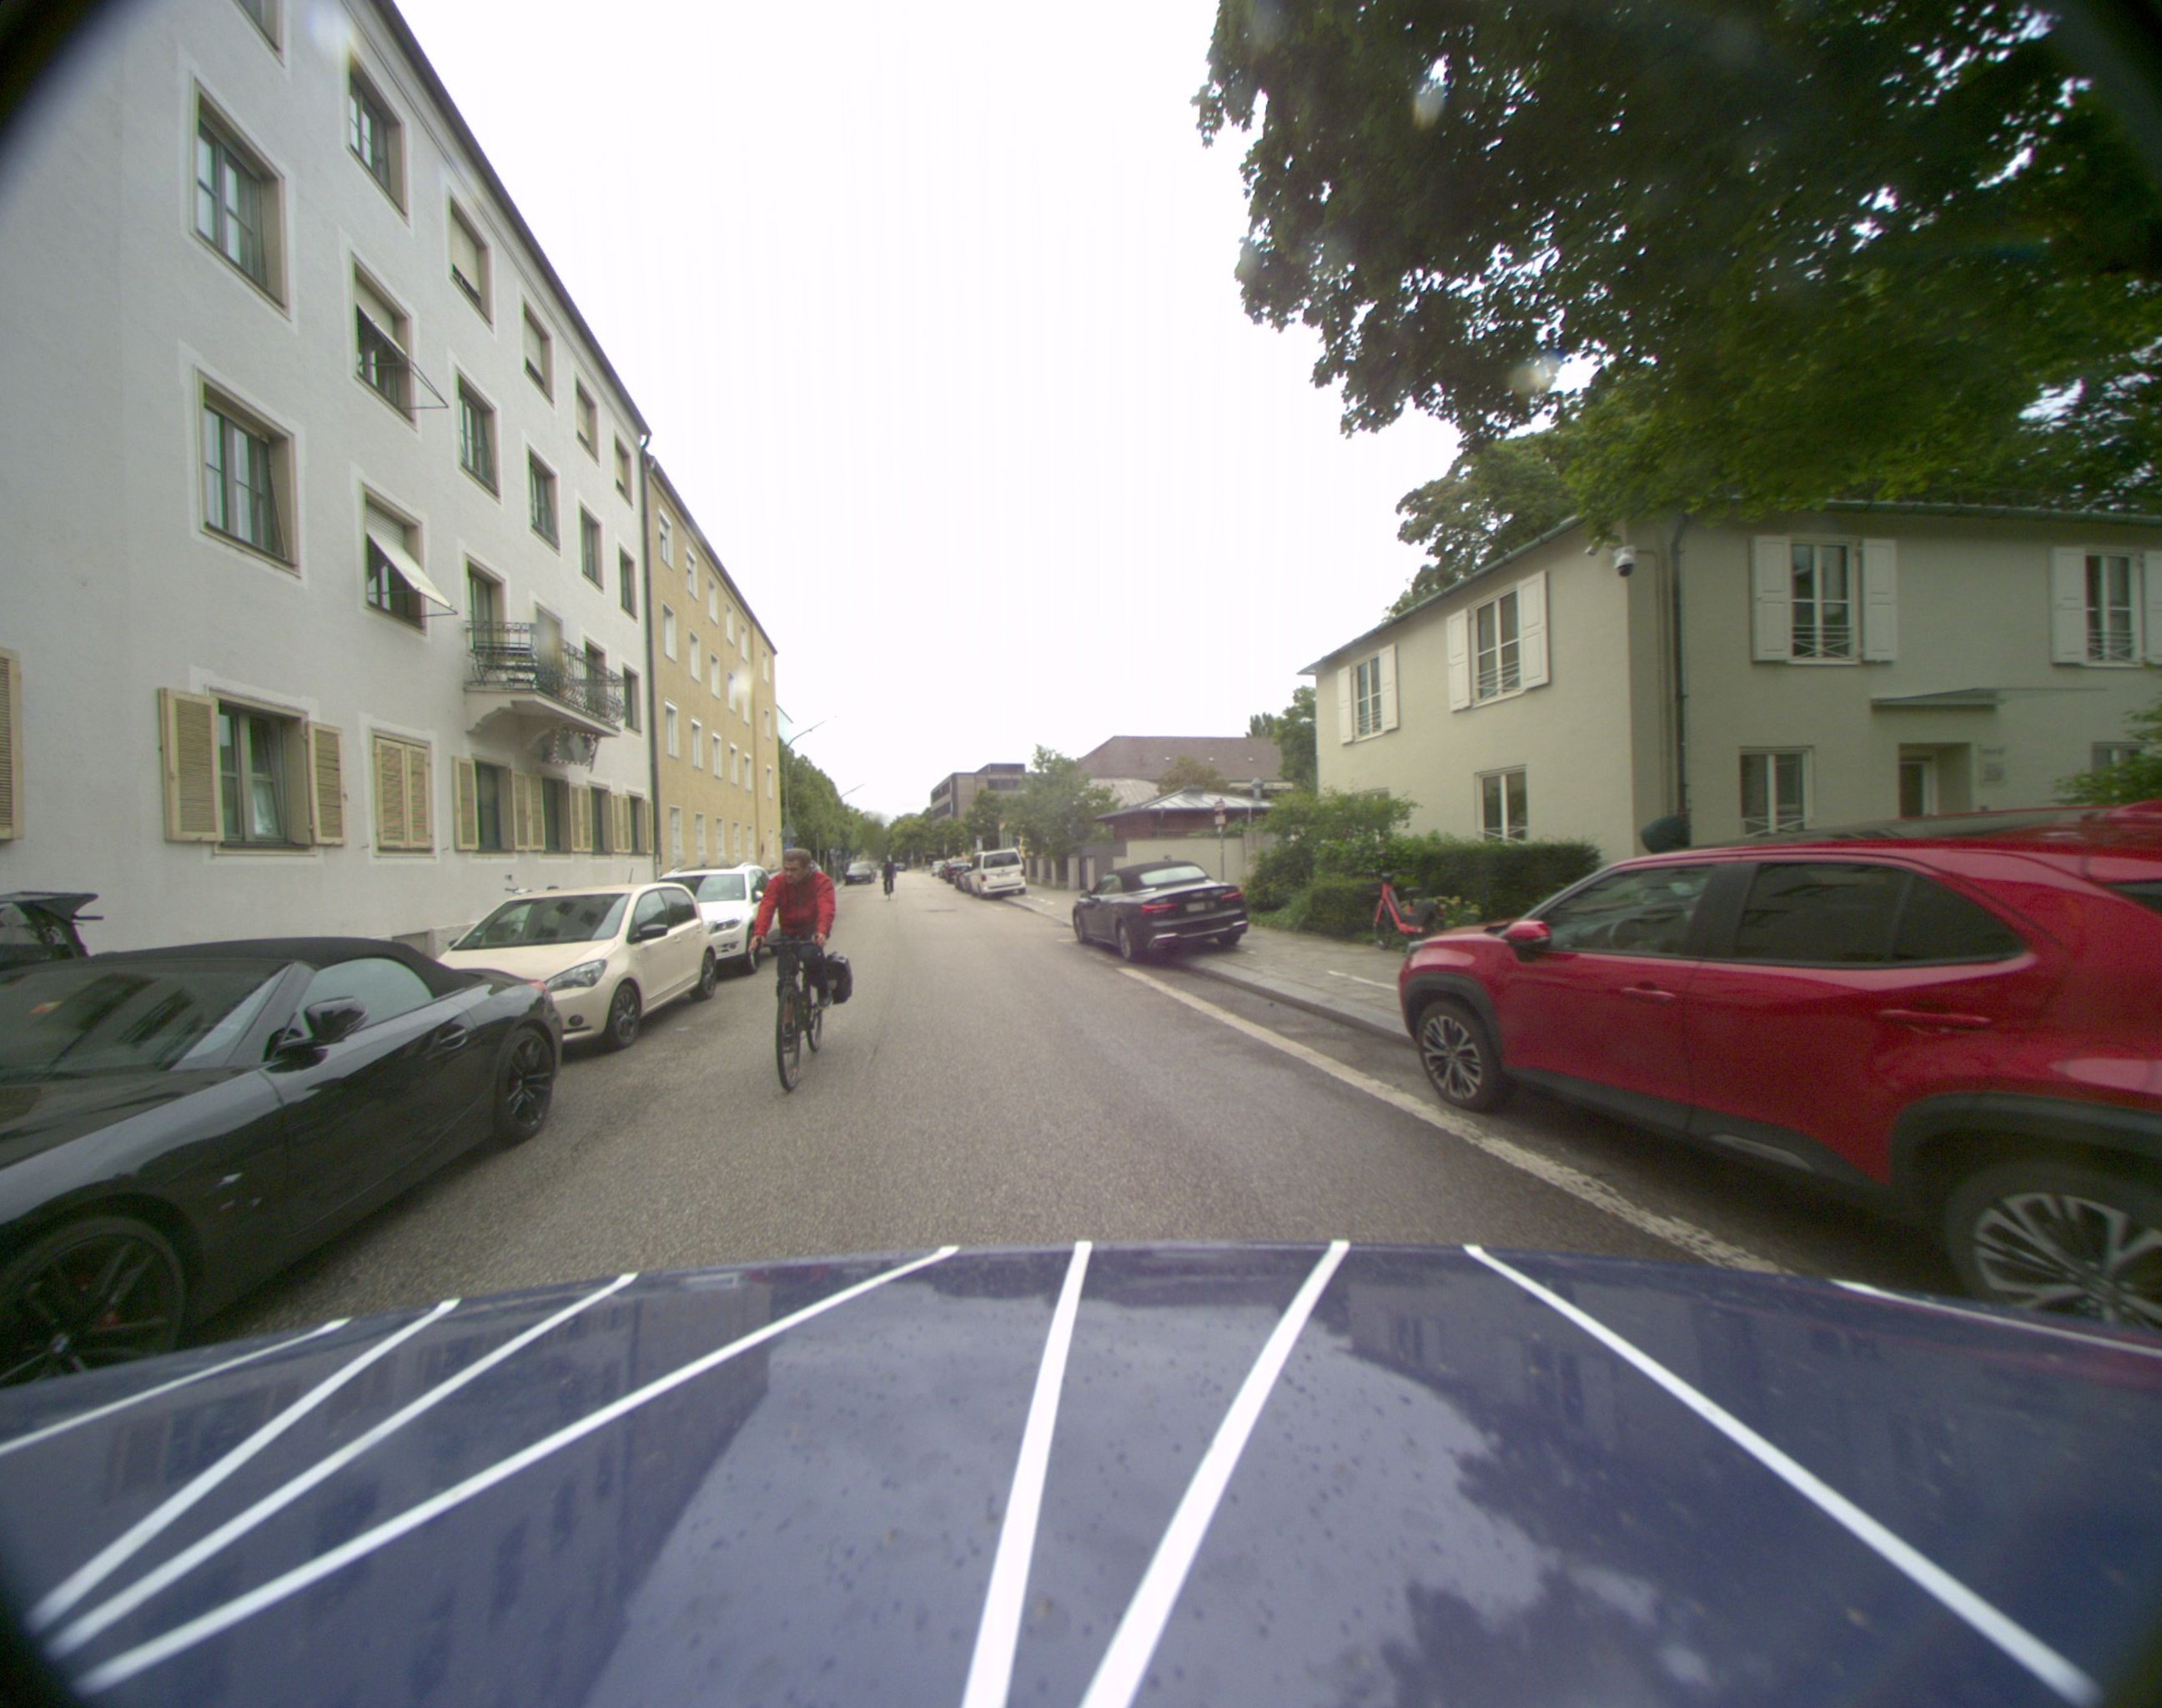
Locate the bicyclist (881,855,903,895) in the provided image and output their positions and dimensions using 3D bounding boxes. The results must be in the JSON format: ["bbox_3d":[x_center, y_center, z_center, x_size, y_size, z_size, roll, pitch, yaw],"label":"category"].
[{"bbox_3d":[-8.057,0.895,32.363,0.781,1.657,1.034,-3,0,-12],"label":"bicyclist"}]

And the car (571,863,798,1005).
[{"bbox_3d":[-6.011,1.060,12.220,2.000,1.697,4.529,-4,0,-12],"label":"car"}]

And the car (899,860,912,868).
[{"bbox_3d":[-30.444,1.702,131.817,1.931,1.390,4.480,-1,0,-18],"label":"car"}]

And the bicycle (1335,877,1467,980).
[{"bbox_3d":[4.046,0.893,9.811,0.651,1.124,2.046,-1,0,-6],"label":"bicycle"}]

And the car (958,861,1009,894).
[{"bbox_3d":[-5.072,1.141,38.913,1.894,1.535,4.690,-2,0,-16],"label":"car"}]

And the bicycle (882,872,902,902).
[{"bbox_3d":[-8.027,1.371,32.335,0.721,1.199,1.799,-3,-1,-12],"label":"bicycle"}]

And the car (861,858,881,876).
[{"bbox_3d":[-23.244,1.401,84.217,1.791,1.884,4.568,-3,1,-13],"label":"car"}]

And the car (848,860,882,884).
[{"bbox_3d":[-16.550,1.346,58.328,2.000,1.621,5.094,-3,0,-11],"label":"car"}]

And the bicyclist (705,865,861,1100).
[{"bbox_3d":[-2.088,0.845,5.468,0.757,1.474,0.980,-3,1,-8],"label":"bicyclist"}]

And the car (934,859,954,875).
[{"bbox_3d":[-14.201,1.288,78.430,1.731,1.483,4.456,-3,1,-13],"label":"car"}]

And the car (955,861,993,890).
[{"bbox_3d":[-6.220,1.198,43.866,1.865,1.535,4.183,0,0,-12],"label":"car"}]

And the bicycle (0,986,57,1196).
[{"bbox_3d":[-5.921,1.257,3.200,0.665,1.057,1.938,-1,0,-5],"label":"bicycle"}]

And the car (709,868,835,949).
[{"bbox_3d":[-6.895,1.131,17.449,1.845,1.522,4.411,-1,0,-11],"label":"car"}]

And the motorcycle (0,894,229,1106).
[{"bbox_3d":[-8.278,1.103,5.855,0.860,1.425,2.703,-2,0,-14],"label":"motorcycle"}]

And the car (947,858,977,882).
[{"bbox_3d":[-8.551,1.105,54.474,1.852,1.598,4.738,-3,0,-11],"label":"car"}]

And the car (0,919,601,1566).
[{"bbox_3d":[-3.923,1.092,2.962,2.007,1.311,4.590,1,0,-12],"label":"car"}]

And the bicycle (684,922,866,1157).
[{"bbox_3d":[-2.061,1.167,5.428,0.674,1.135,2.009,-3,1,-8],"label":"bicycle"}]

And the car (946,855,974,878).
[{"bbox_3d":[-9.776,0.987,61.278,1.909,1.682,4.803,-3,1,-12],"label":"car"}]

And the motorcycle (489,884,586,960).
[{"bbox_3d":[-10.239,1.238,14.416,0.735,1.232,2.005,-3,1,-13],"label":"motorcycle"}]

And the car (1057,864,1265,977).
[{"bbox_3d":[1.067,0.940,12.903,1.814,1.394,4.917,-3,0,-15],"label":"car"}]

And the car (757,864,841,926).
[{"bbox_3d":[-8.292,1.122,22.704,1.867,1.568,4.893,-1,0,-15],"label":"car"}]

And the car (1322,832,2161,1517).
[{"bbox_3d":[3.161,0.754,3.405,1.894,1.581,4.523,-3,1,-12],"label":"car"}]

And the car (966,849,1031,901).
[{"bbox_3d":[-3.682,0.868,33.108,1.974,1.979,5.145,-3,1,-15],"label":"car"}]

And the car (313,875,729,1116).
[{"bbox_3d":[-5.122,1.125,7.689,1.776,1.537,3.708,-6,1,-10],"label":"car"}]

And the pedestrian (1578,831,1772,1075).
[{"bbox_3d":[4.152,0.641,5.349,0.716,1.539,0.751,-4,1,-15],"label":"pedestrian"}]
